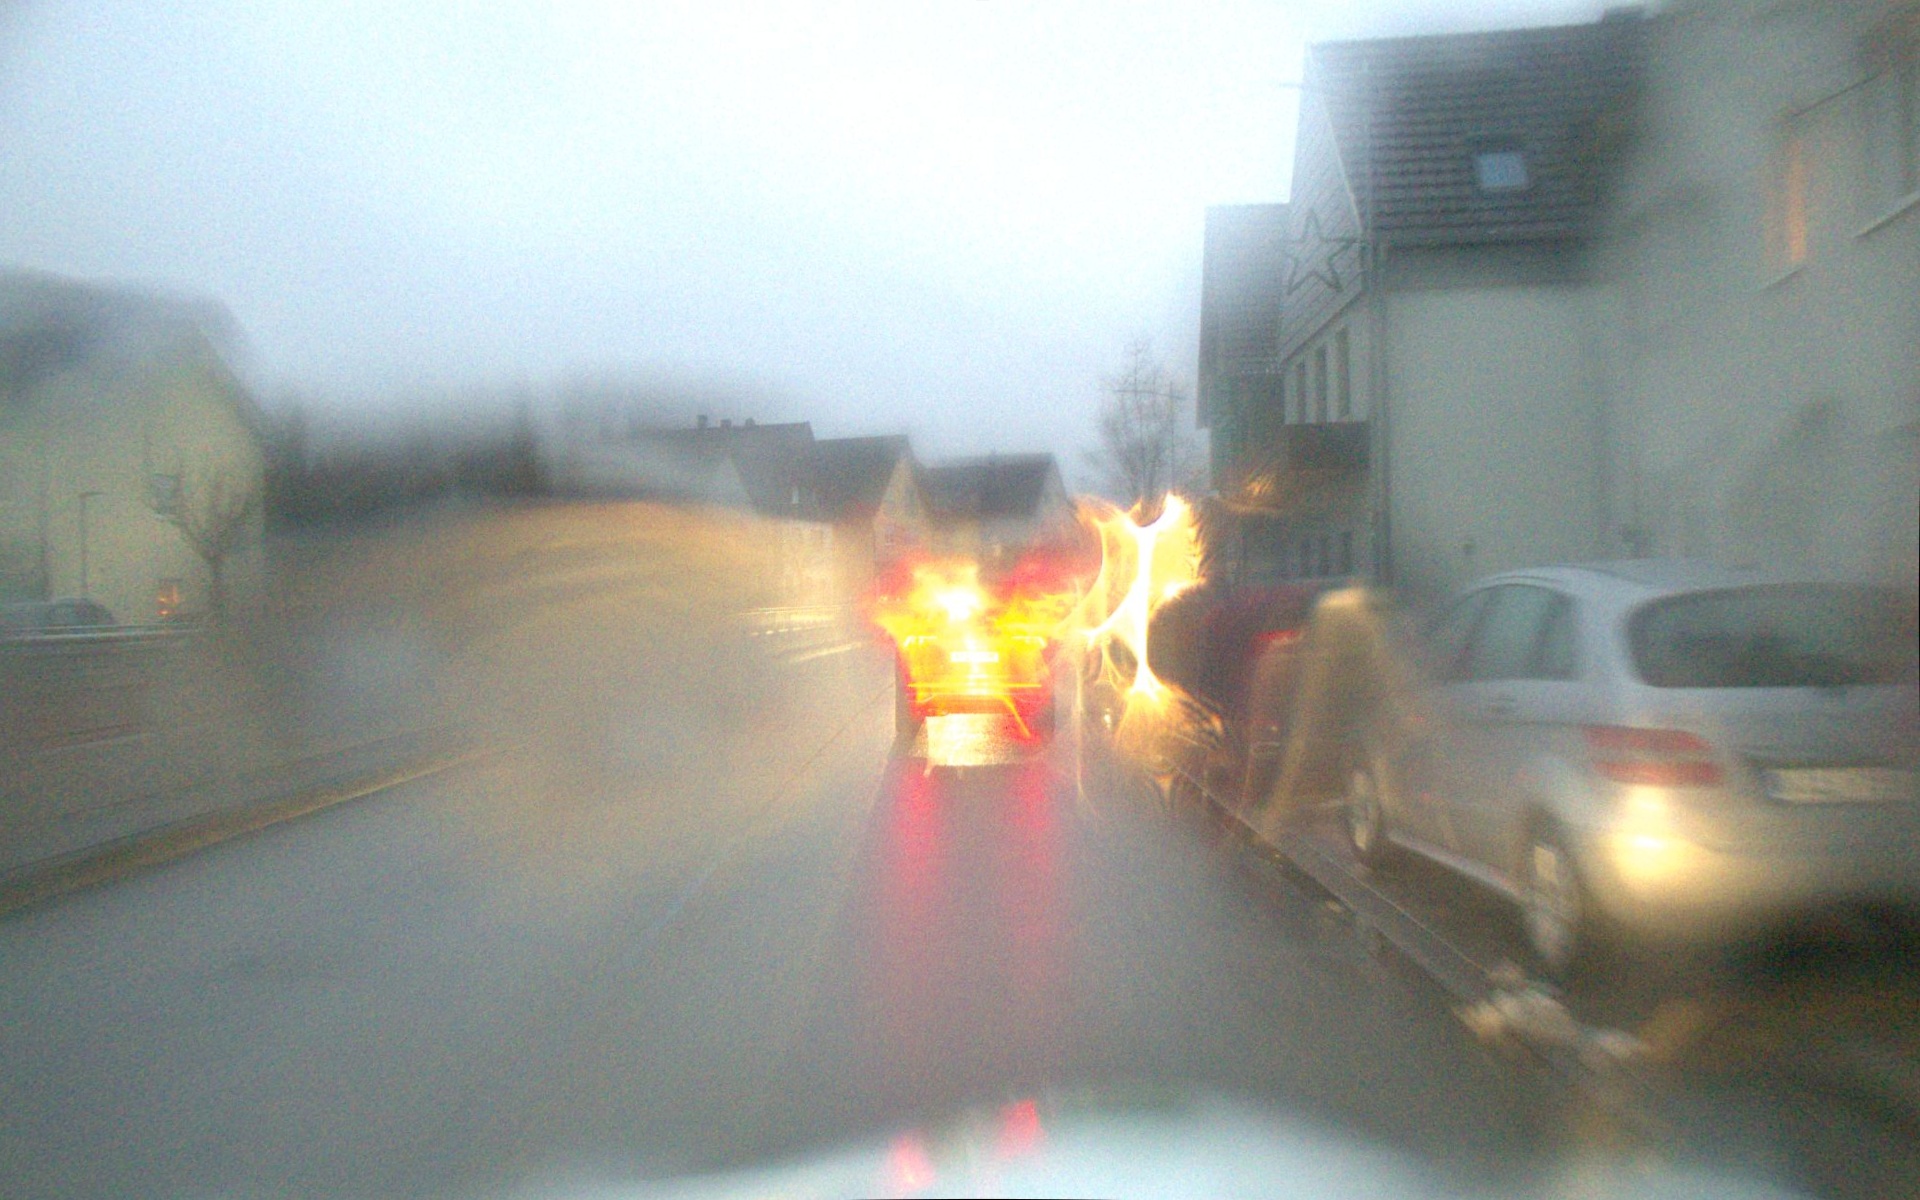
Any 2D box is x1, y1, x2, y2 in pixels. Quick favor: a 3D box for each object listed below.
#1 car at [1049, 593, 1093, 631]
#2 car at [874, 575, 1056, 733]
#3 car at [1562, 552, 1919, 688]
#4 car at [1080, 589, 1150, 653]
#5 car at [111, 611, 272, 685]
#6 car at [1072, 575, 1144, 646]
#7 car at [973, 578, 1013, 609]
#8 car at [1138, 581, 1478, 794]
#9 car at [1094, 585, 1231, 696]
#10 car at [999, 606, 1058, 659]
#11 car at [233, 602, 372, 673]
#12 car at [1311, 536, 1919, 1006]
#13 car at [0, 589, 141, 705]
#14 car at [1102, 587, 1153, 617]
[{"bbox_3d":[4.564,0.459,67.855,1.776,1.436,4.003,0,1,4],"label":"car"},{"bbox_3d":[-0.045,0.535,19.591,1.925,1.622,4.311,0,1,-3],"label":"car"},{"bbox_3d":[10.255,0.257,21.754,4.059,1.582,1.865,-2,0,8],"label":"car"},{"bbox_3d":[3.886,0.497,41.662,1.611,1.440,2.729,-4,0,4],"label":"car"},{"bbox_3d":[-20.058,1.214,43.388,1.834,1.626,4.228,-3,1,6],"label":"car"},{"bbox_3d":[4.288,0.266,47.464,1.732,1.813,4.004,-4,0,8],"label":"car"},{"bbox_3d":[2.208,-0.420,110.169,1.999,1.959,4.049,-2,1,-8],"label":"car"},{"bbox_3d":[2.874,0.647,14.882,1.917,1.559,5.008,1,0,-1],"label":"car"},{"bbox_3d":[3.043,0.567,25.570,1.618,1.480,4.239,-3,0,1],"label":"car"},{"bbox_3d":[1.991,0.912,48.137,1.647,1.478,4.001,0,0,2],"label":"car"},{"bbox_3d":[-19.367,1.058,48.937,1.834,1.809,4.505,-3,1,6],"label":"car"},{"bbox_3d":[3.042,0.583,8.019,1.631,1.603,4.496,-2,0,-1],"label":"car"},{"bbox_3d":[-15.873,0.774,28.250,1.762,1.835,3.861,-1,0,1],"label":"car"},{"bbox_3d":[8.455,0.088,83.255,1.951,1.416,4.003,-1,1,14],"label":"car"}]
